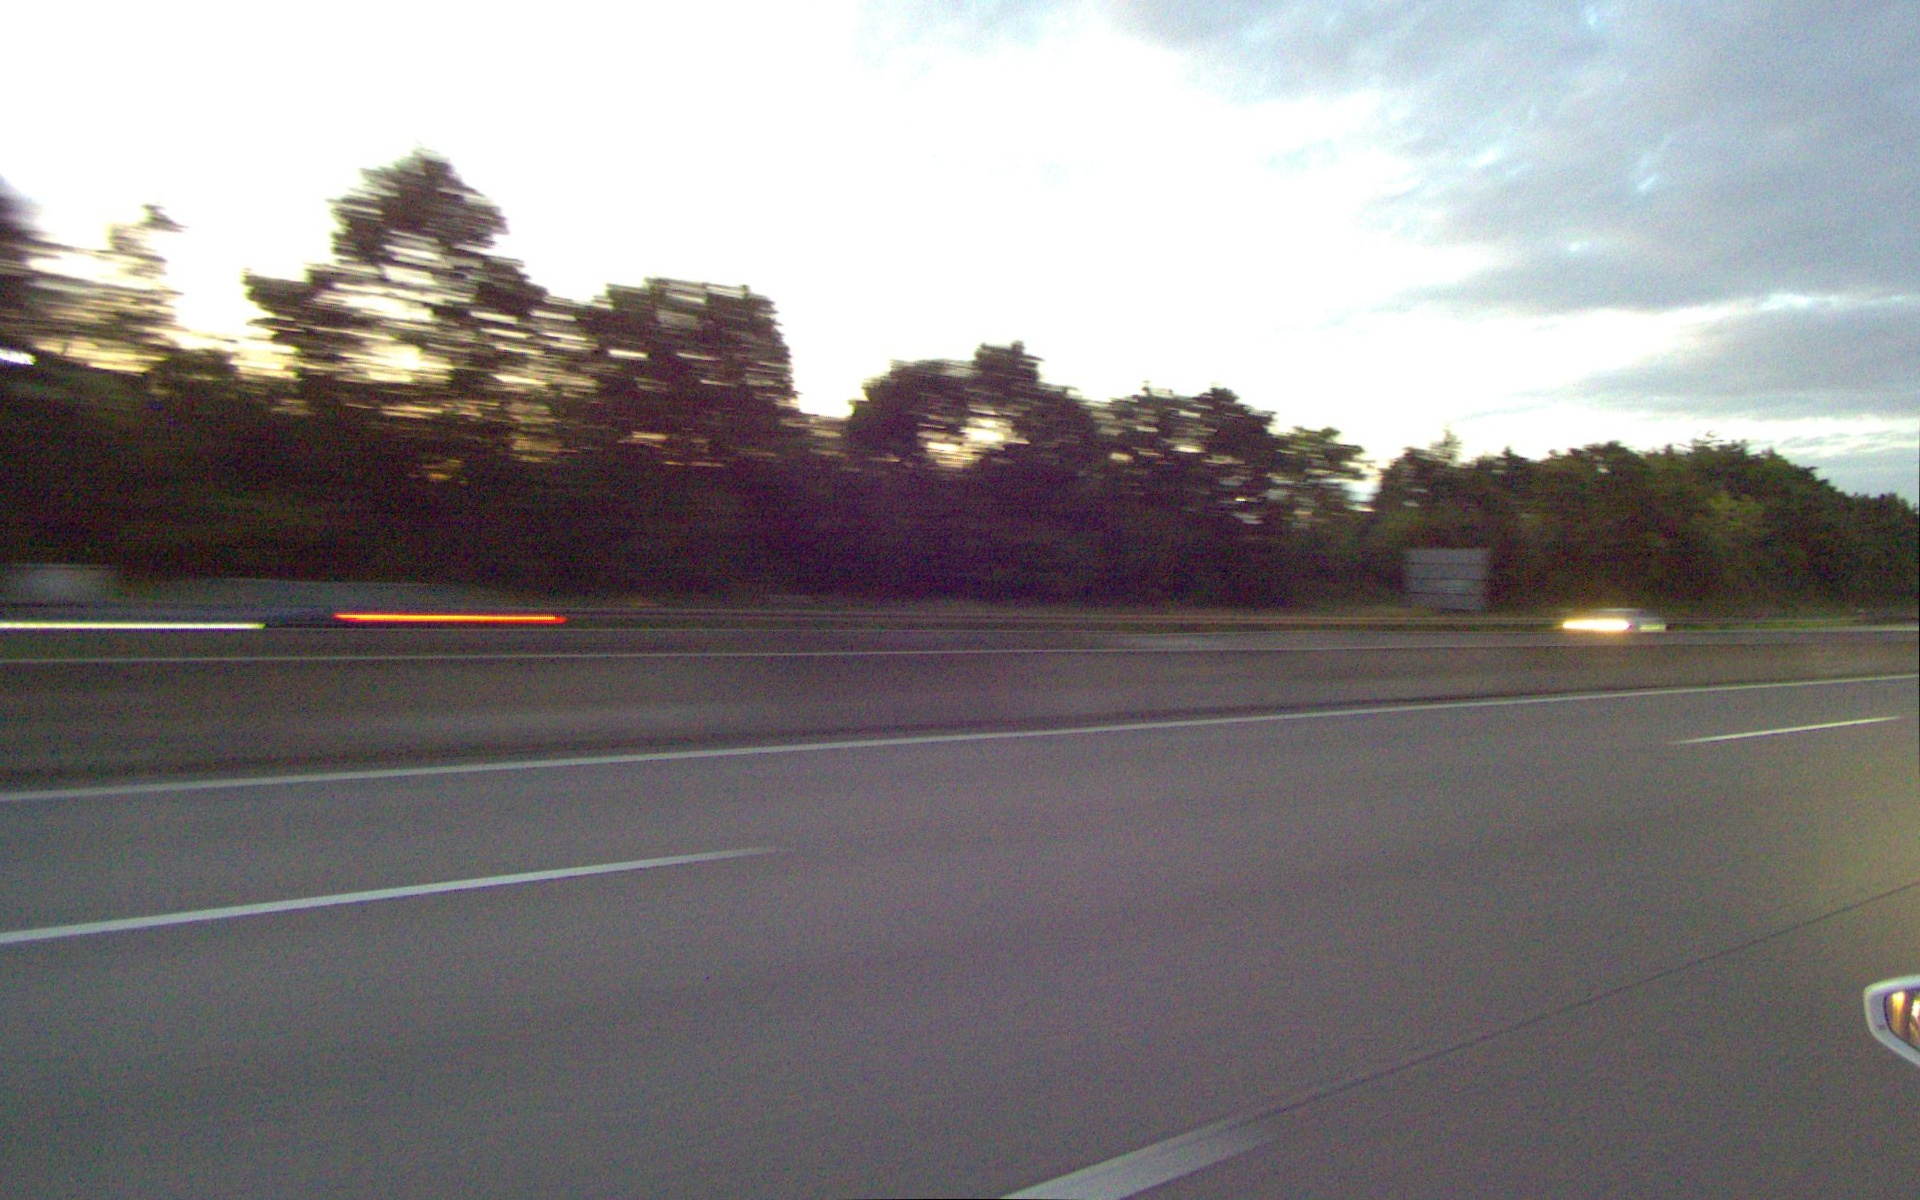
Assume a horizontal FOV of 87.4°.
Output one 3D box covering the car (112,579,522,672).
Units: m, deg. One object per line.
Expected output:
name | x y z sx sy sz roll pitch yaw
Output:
car | -9.936 0.428 16.038 5.175 1.242 2.049 3 0 -31

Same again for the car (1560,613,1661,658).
car | 30.354 1.668 46.841 5.003 1.918 1.982 3 0 -32
